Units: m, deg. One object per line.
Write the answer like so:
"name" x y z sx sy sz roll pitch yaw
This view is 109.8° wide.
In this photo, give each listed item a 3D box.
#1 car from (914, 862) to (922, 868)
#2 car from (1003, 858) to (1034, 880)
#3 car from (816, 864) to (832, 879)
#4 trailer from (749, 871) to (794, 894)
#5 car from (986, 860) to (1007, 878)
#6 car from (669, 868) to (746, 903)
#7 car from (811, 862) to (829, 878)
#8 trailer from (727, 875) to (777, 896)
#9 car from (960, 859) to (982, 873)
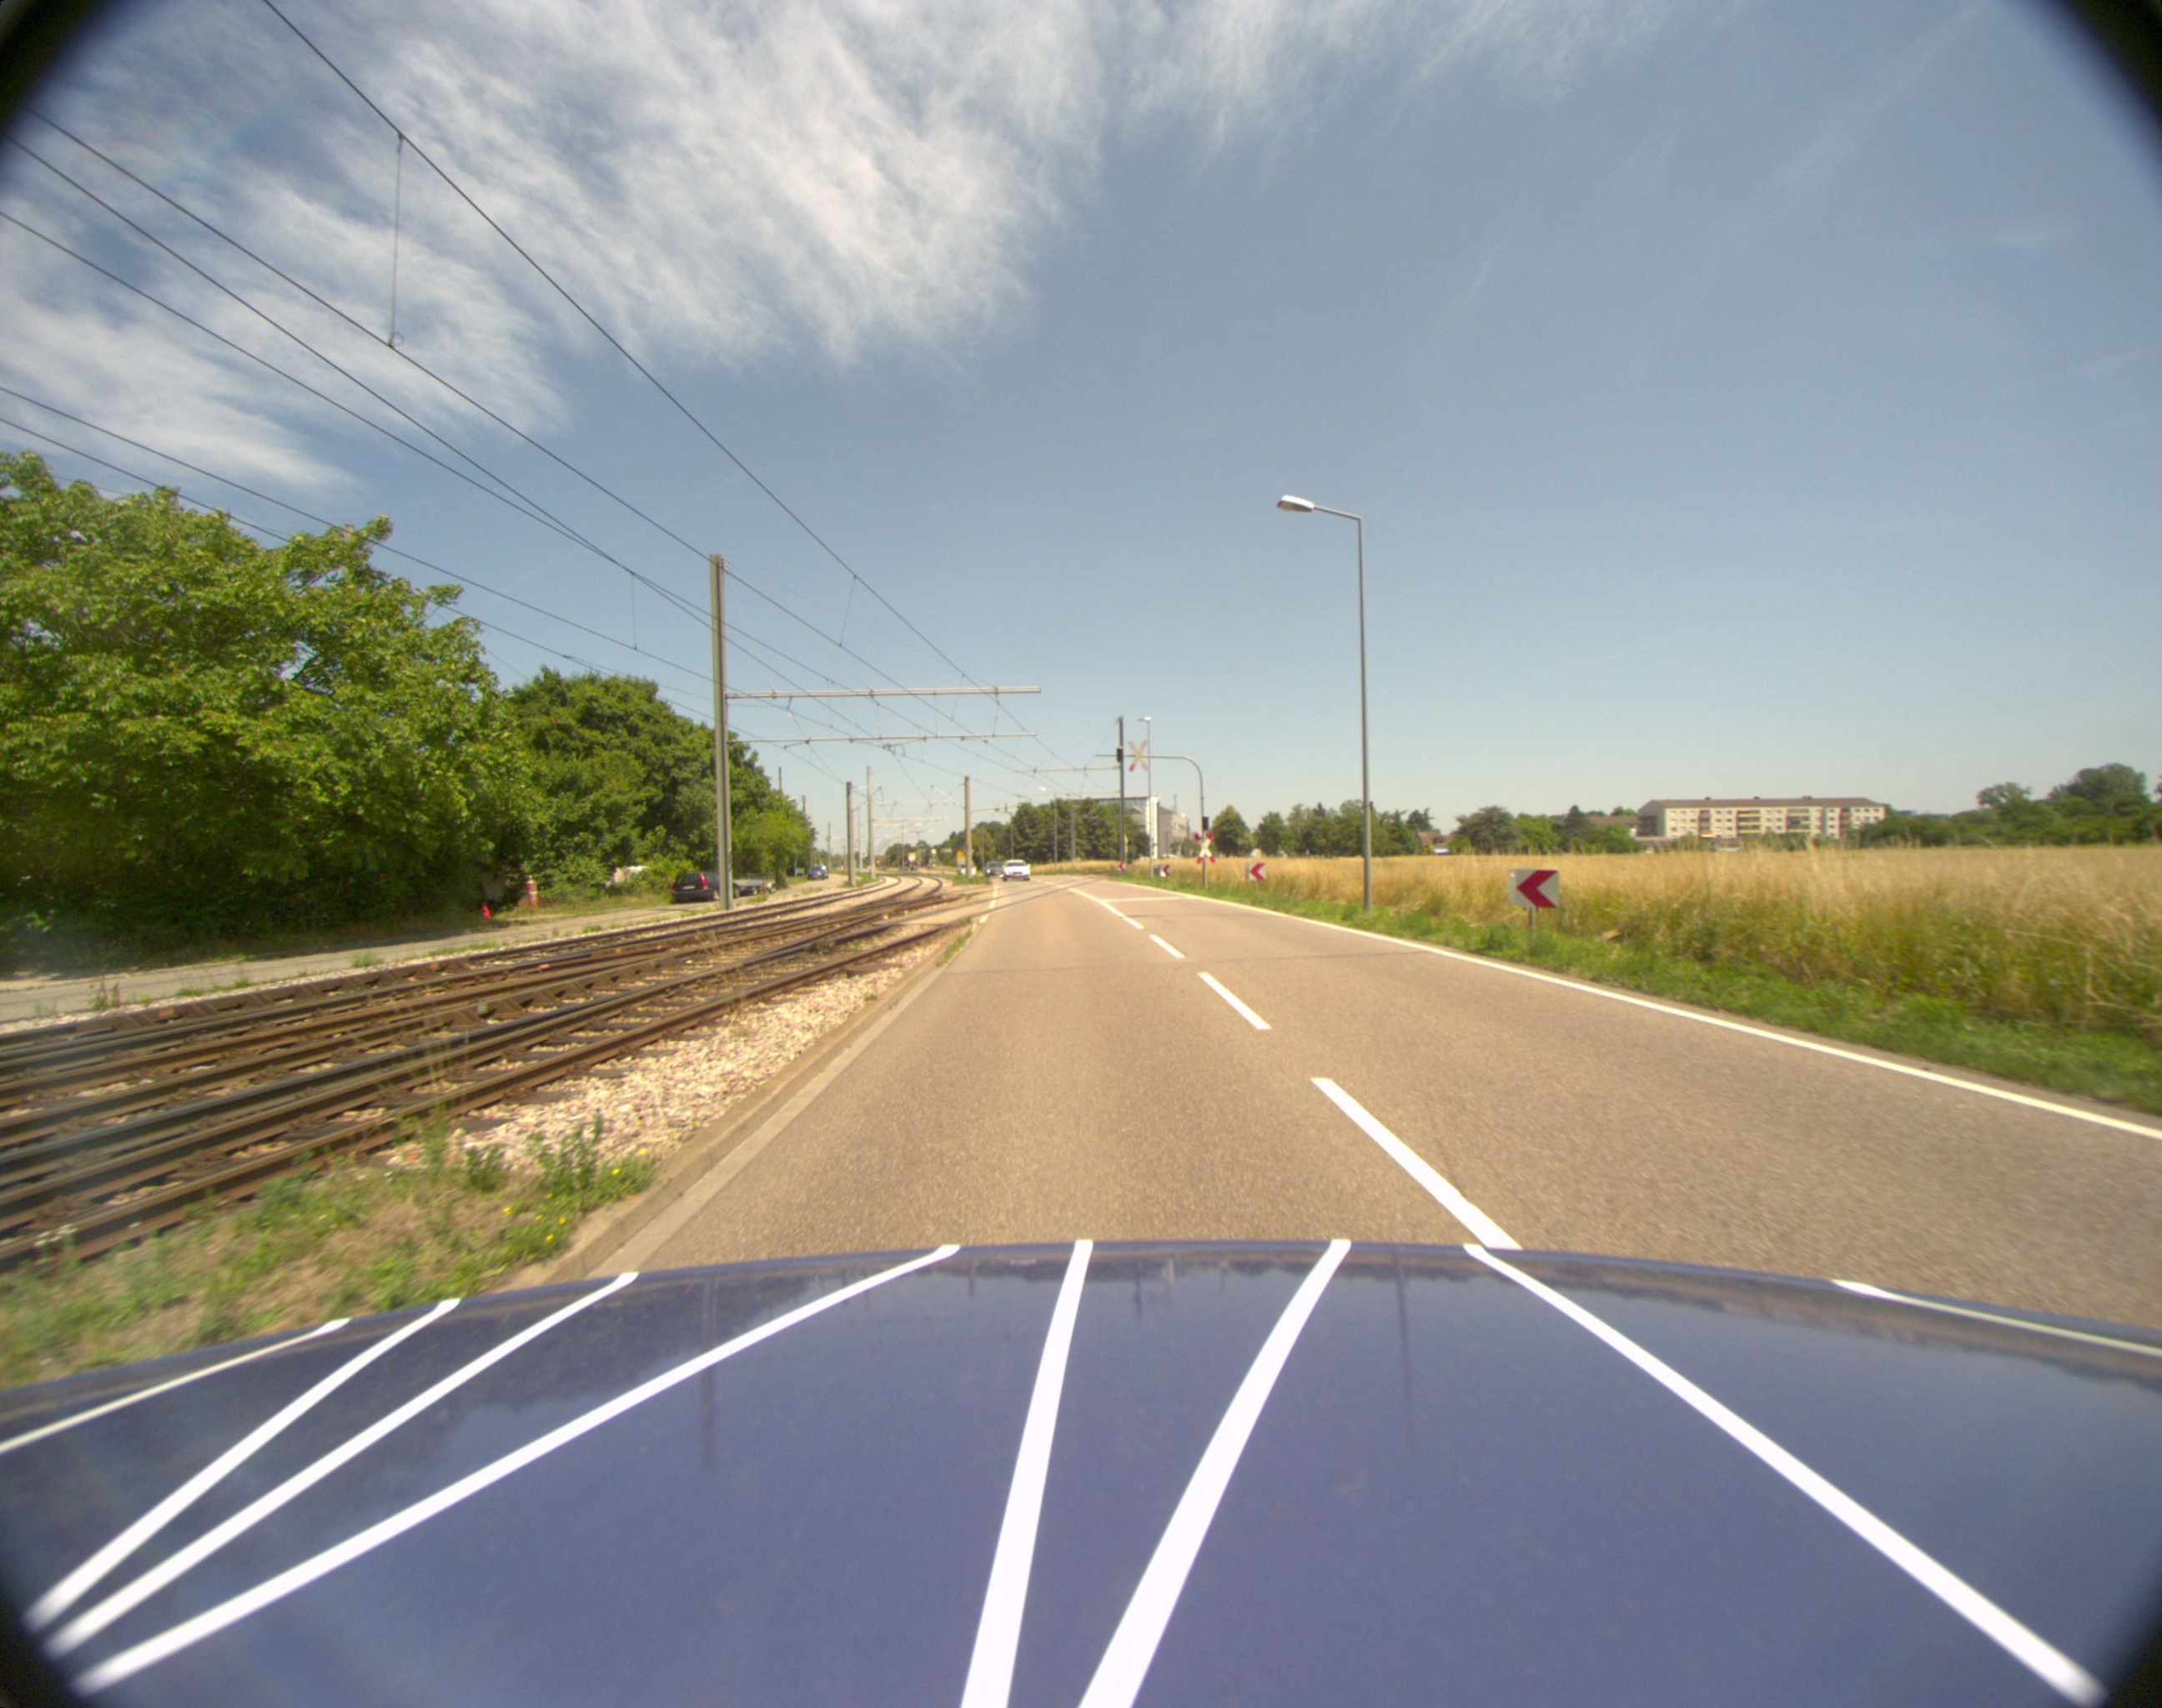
"car" -46.502 3.243 216.613 1.834 1.592 4.478 -2 -1 -17
"car" -4.471 1.028 53.857 1.773 1.434 4.124 -1 1 -11
"car" -31.697 2.121 93.485 1.683 1.615 4.702 -1 1 -20
"trailer" -19.335 1.734 47.669 1.466 1.215 3.997 -1 1 -5
"car" -7.603 1.319 67.976 1.511 1.423 3.354 -1 1 -13
"car" -18.291 1.514 37.455 1.802 1.418 4.737 -1 1 -5
"car" -30.169 1.834 87.809 1.835 1.647 4.807 -1 1 -17
"trailer" -18.851 1.797 43.674 1.423 0.989 3.998 -4 0 -5
"car" -13.246 1.427 91.339 1.812 1.465 3.505 -1 1 -21
